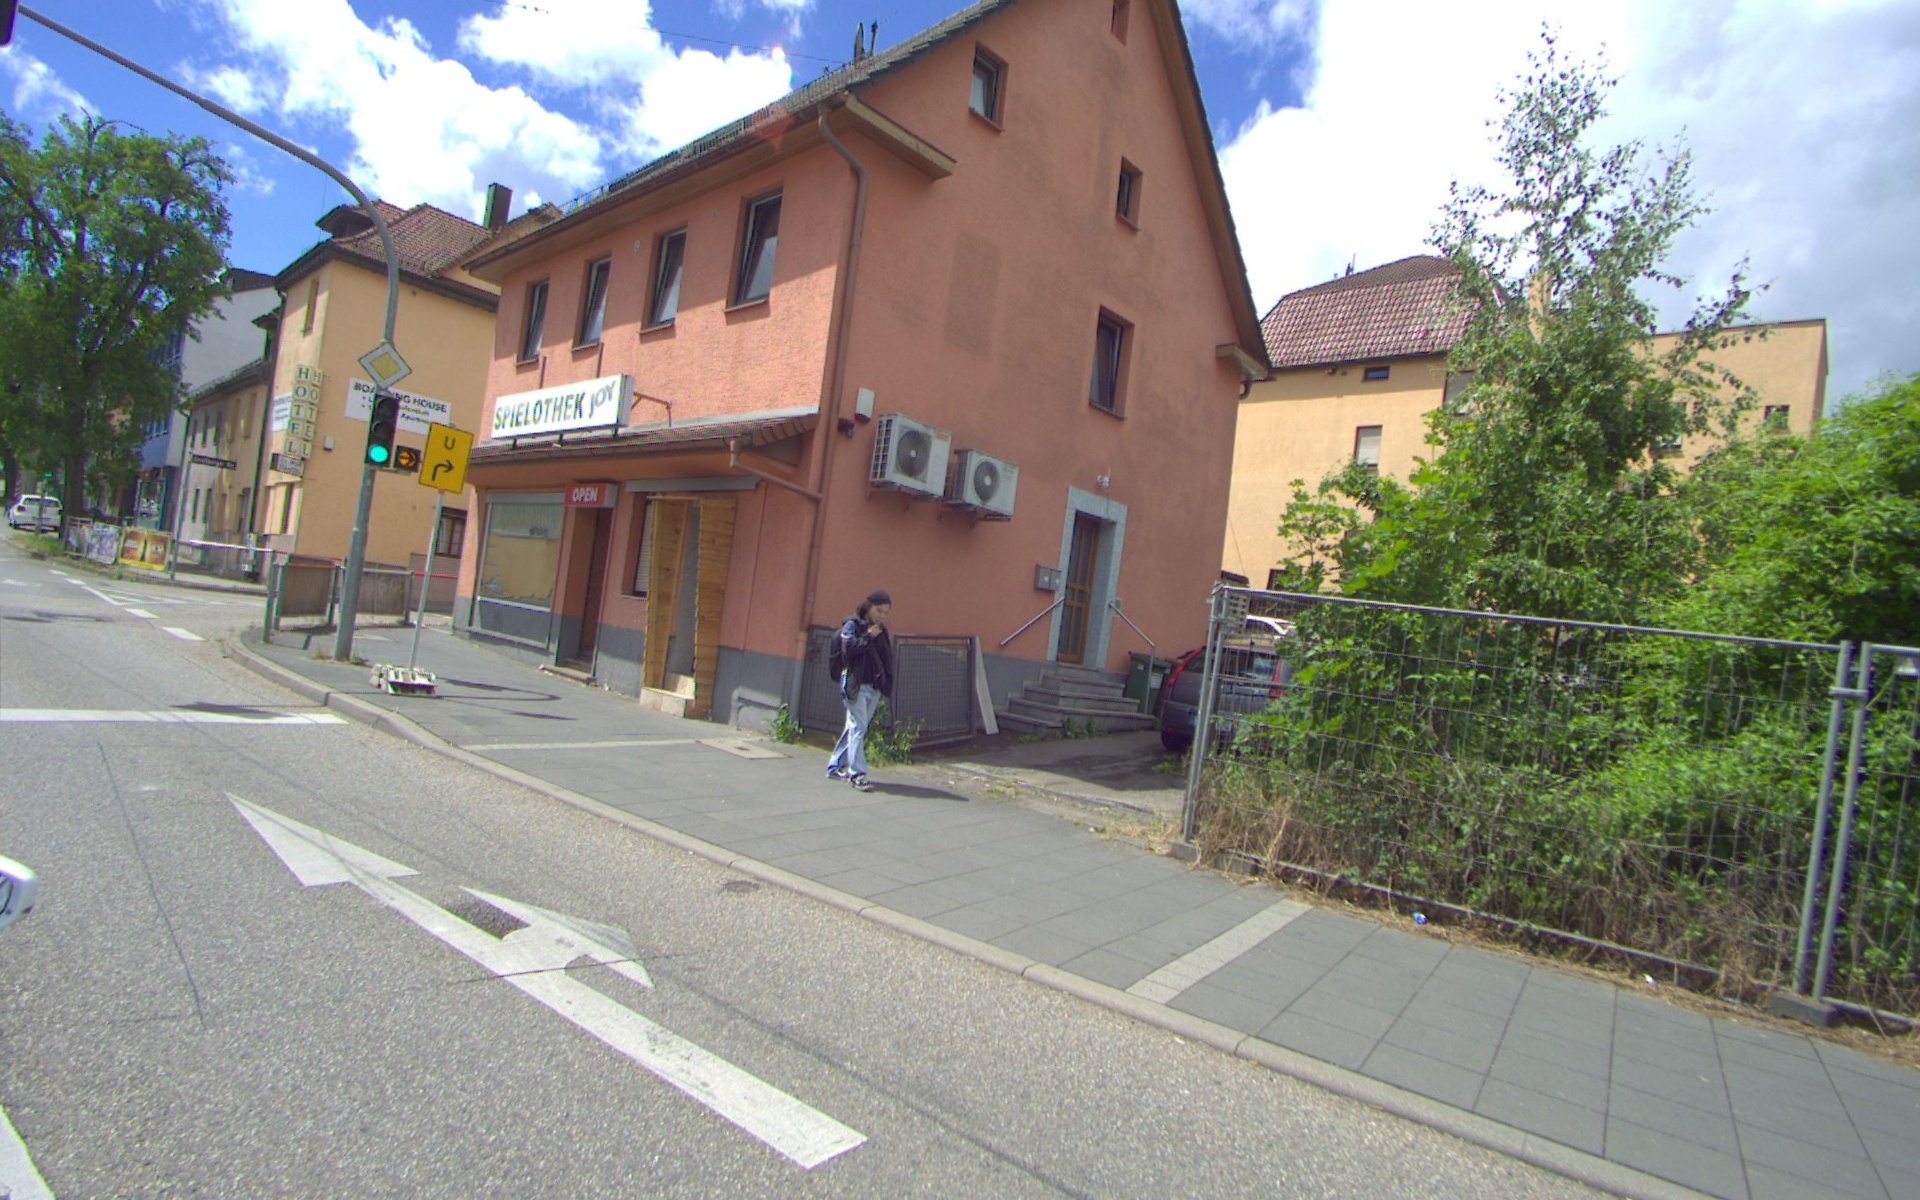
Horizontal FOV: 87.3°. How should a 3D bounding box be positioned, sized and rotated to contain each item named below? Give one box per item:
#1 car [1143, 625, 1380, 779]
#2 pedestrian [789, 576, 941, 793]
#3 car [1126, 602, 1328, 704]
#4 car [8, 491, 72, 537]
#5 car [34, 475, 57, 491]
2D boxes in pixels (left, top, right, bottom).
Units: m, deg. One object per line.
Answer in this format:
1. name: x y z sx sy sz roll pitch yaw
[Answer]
1. car: 3.792 1.196 12.482 1.627 1.516 2.796 7 2 43
2. pedestrian: -0.797 0.699 8.473 0.767 1.663 0.762 9 1 43
3. car: 6.210 1.216 23.647 3.947 1.804 1.990 7 -1 44
4. car: -39.429 -3.679 43.092 1.782 1.615 3.950 7 -1 -45
5. car: -111.398 -14.185 122.551 1.812 1.484 3.952 12 -4 -43
